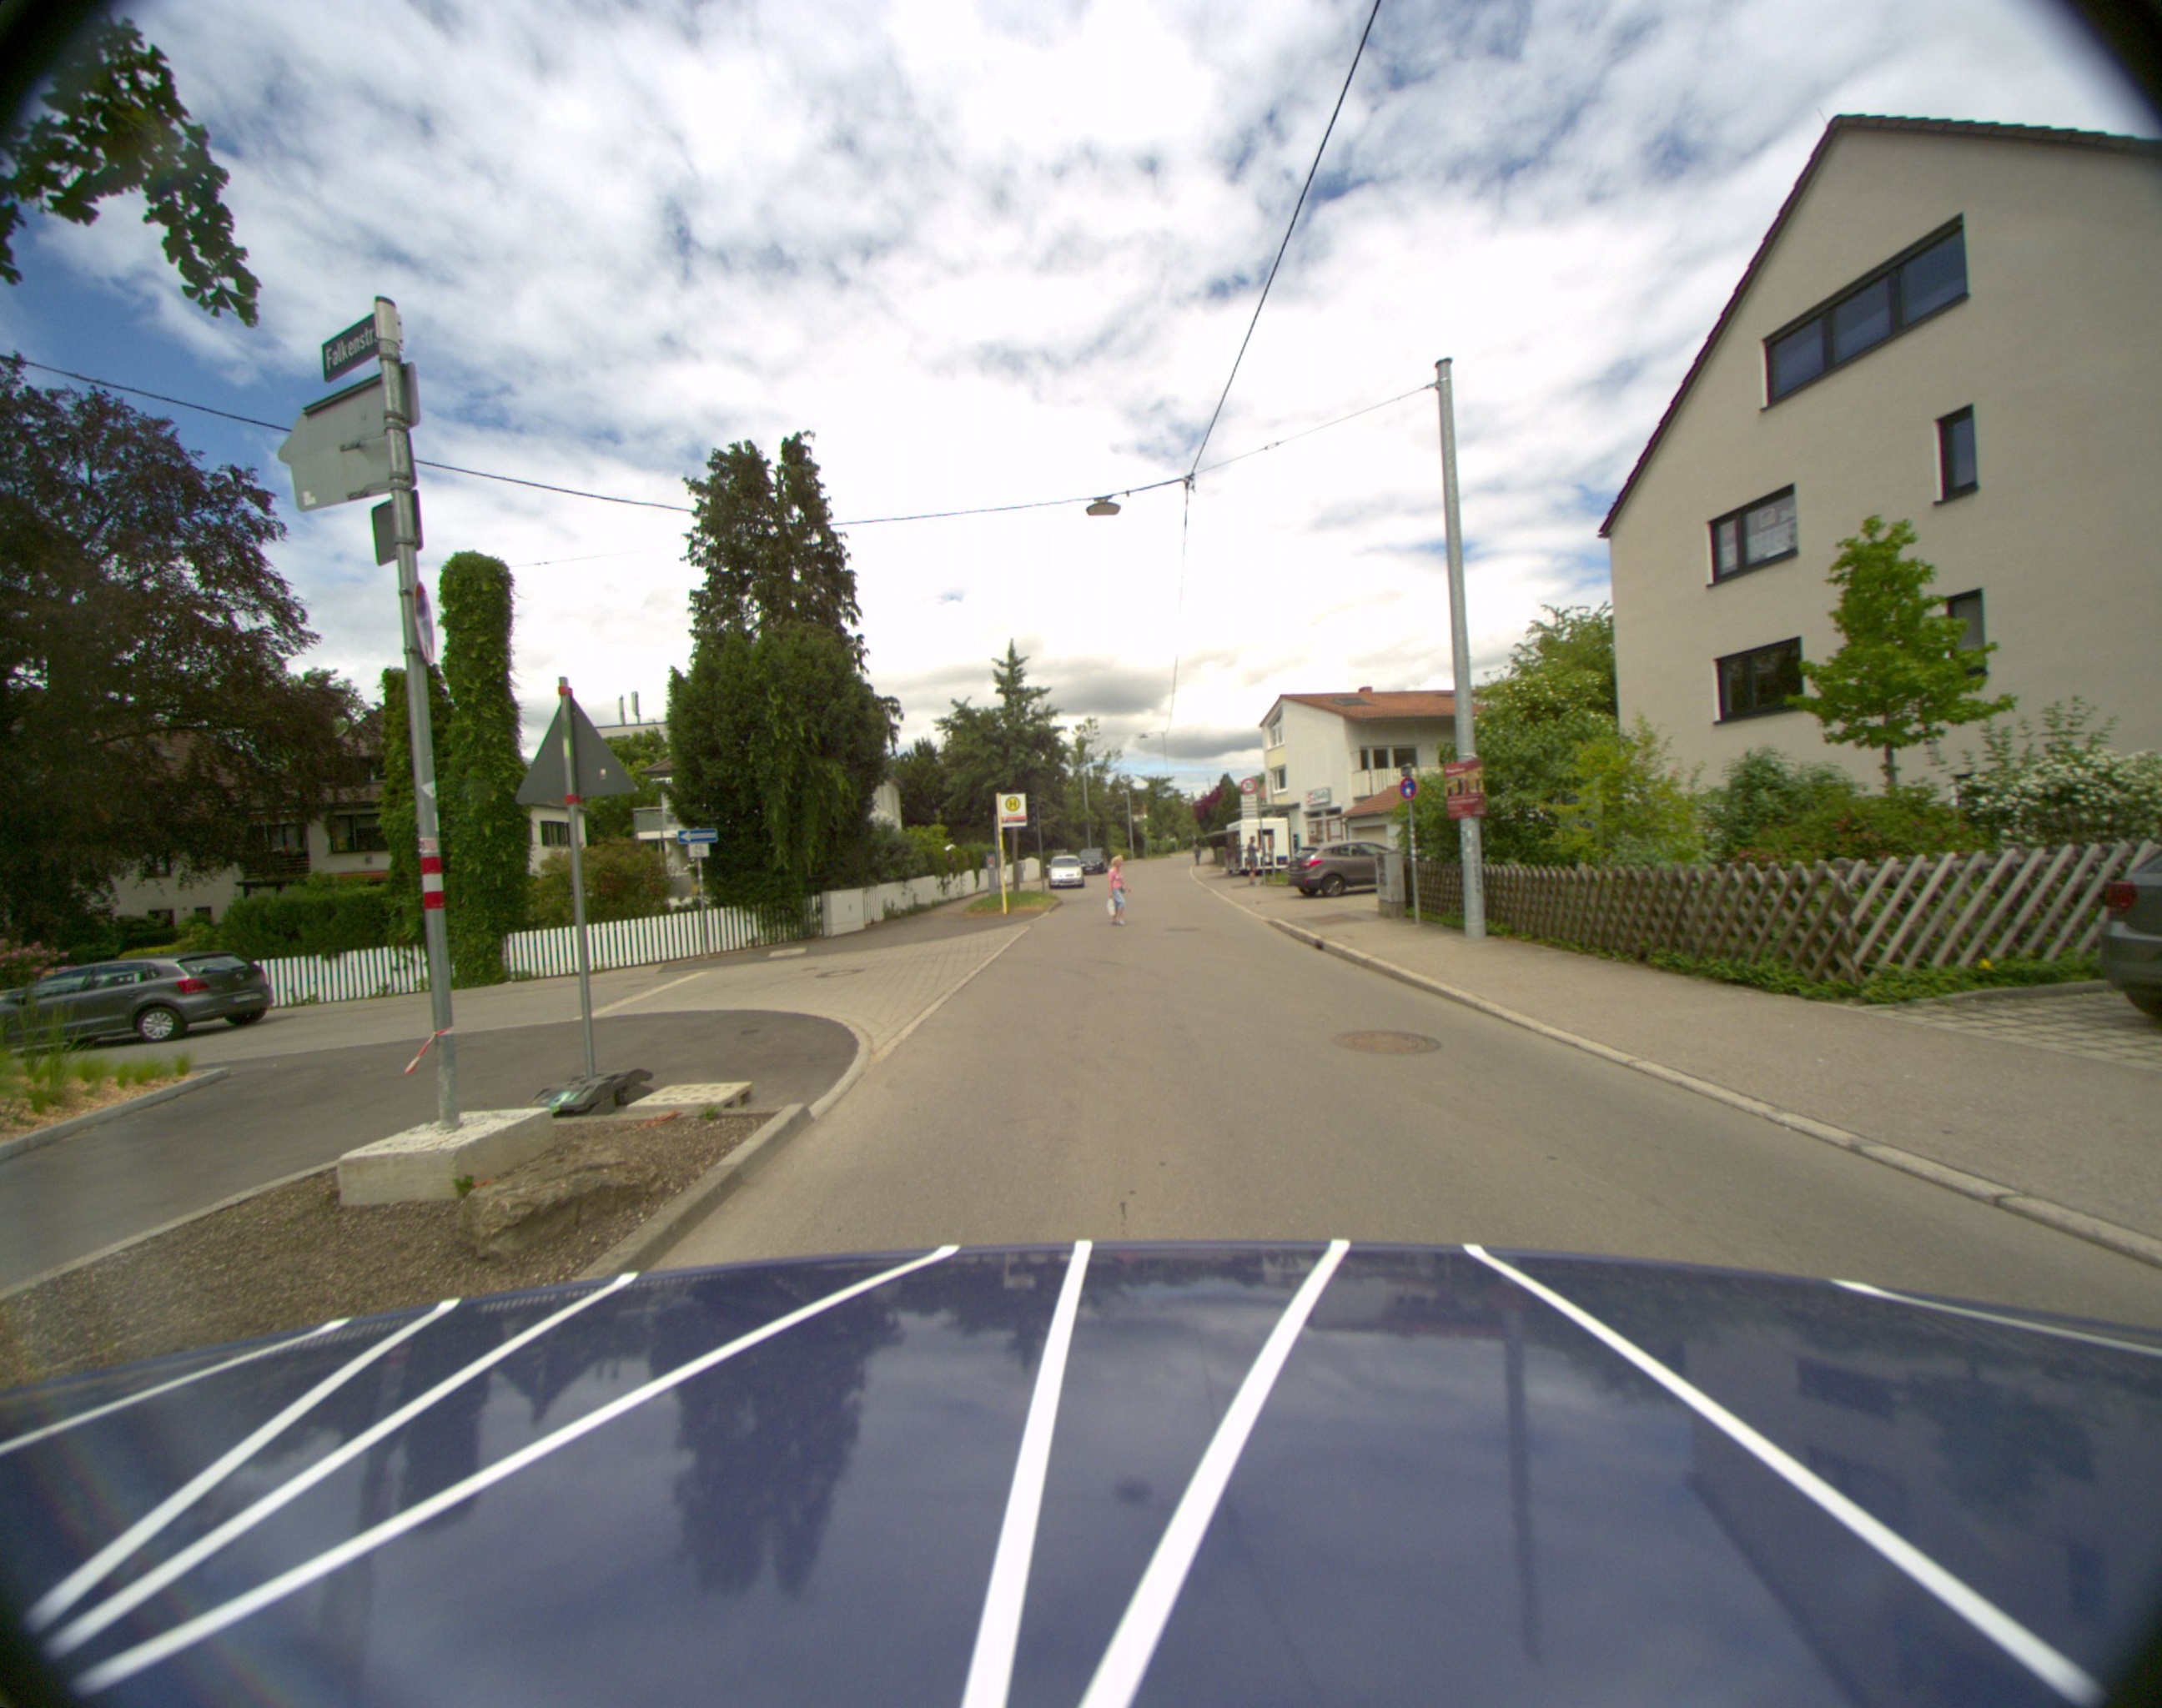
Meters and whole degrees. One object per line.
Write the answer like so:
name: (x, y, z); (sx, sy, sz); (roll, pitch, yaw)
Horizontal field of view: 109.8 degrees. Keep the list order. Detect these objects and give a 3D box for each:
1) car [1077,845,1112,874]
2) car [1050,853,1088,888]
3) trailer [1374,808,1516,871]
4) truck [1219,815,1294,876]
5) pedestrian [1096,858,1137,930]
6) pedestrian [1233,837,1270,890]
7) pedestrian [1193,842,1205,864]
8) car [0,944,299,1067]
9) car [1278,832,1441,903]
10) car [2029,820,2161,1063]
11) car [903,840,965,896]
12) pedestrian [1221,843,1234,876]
car: (1.061, 0.338, 55.732); (1.913, 1.838, 5.159); (-4, 1, 7)
car: (-0.562, 0.785, 38.112); (1.764, 1.573, 4.017); (-2, 1, 0)
trailer: (14.955, -0.560, 31.409); (4.874, 2.068, 1.704); (-6, -1, 1)
truck: (9.173, -0.482, 40.408); (2.479, 2.824, 6.707); (-4, 1, 2)
pedestrian: (0.864, 0.940, 18.230); (0.856, 1.636, 0.884); (-3, 1, 5)
pedestrian: (6.657, 0.347, 29.708); (1.216, 1.935, 0.735); (-5, 1, 8)
pedestrian: (9.733, -0.092, 62.702); (0.724, 1.678, 1.108); (-5, 6, 8)
car: (-16.409, 2.588, 13.180); (3.533, 1.449, 1.713); (-6, 1, -9)
car: (8.631, 0.394, 23.749); (4.324, 1.686, 1.796); (-6, 1, -7)
car: (8.388, 0.398, 4.283); (3.680, 1.426, 1.817); (-6, 1, 1)
car: (-7.968, 0.689, 41.691); (2.504, 2.666, 5.184); (-6, 1, -4)
pedestrian: (7.716, 0.301, 40.030); (0.402, 1.685, 0.597); (-6, 1, 2)
